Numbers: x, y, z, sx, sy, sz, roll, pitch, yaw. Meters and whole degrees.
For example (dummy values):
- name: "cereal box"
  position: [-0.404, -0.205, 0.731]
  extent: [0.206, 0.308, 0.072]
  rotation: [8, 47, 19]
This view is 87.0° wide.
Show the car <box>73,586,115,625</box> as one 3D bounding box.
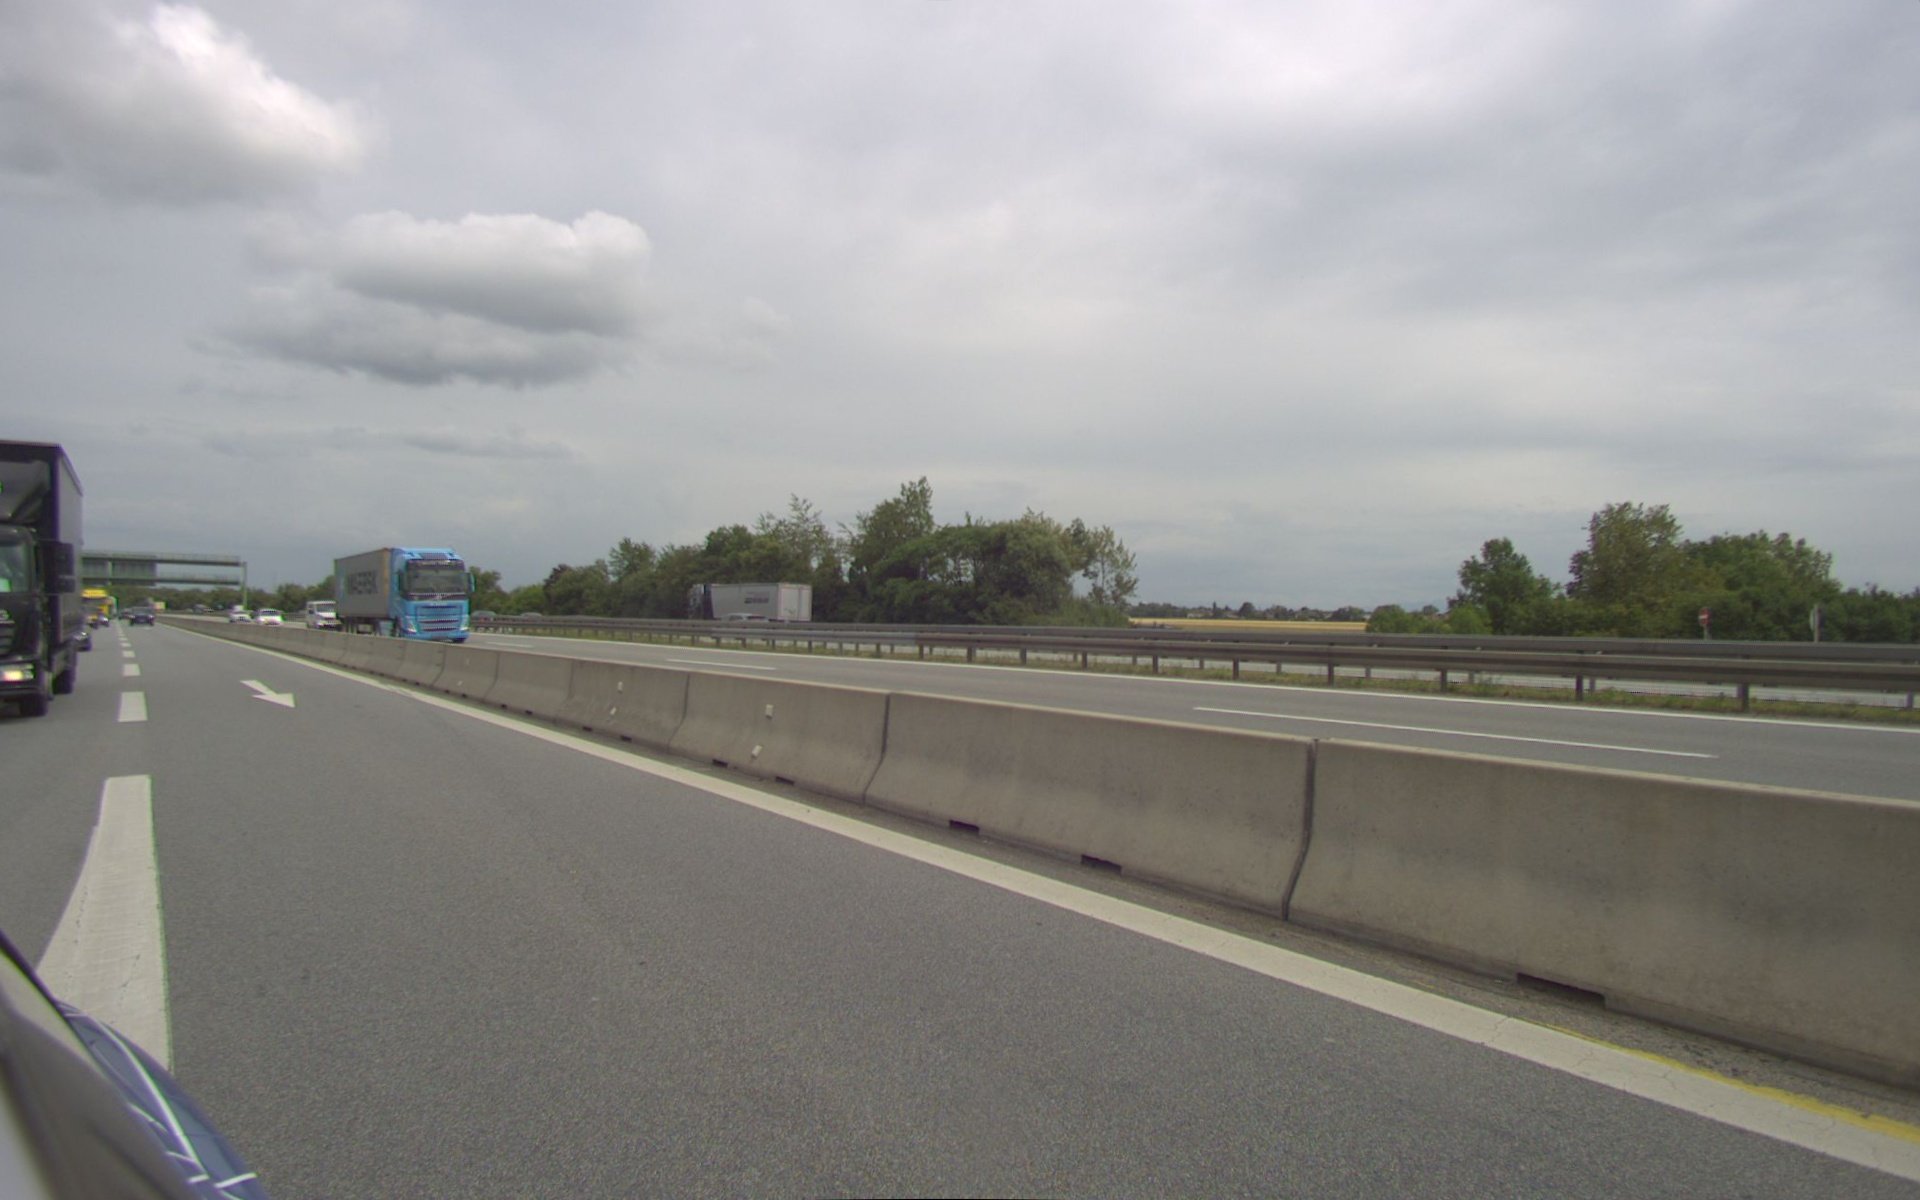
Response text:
- name: "car"
  position: [-104.695, 0.707, 122.487]
  extent: [3.342, 4.517, 11.630]
  rotation: [0, -1, -38]

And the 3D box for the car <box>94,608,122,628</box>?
- name: "car"
  position: [-78.772, 1.685, 93.605]
  extent: [1.758, 1.785, 4.008]
  rotation: [0, 0, -38]

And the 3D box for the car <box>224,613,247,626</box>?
- name: "car"
  position: [-84.453, 2.262, 117.902]
  extent: [1.731, 1.379, 4.211]
  rotation: [0, -1, -42]

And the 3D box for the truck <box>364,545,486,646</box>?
- name: "truck"
  position: [-22.680, -0.154, 42.722]
  extent: [3.206, 3.941, 6.620]
  rotation: [0, 0, -40]

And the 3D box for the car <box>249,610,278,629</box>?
- name: "car"
  position: [-55.665, 1.576, 80.913]
  extent: [1.659, 1.496, 3.781]
  rotation: [0, -1, -39]

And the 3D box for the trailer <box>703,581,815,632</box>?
- name: "trailer"
  position: [-13.935, 0.473, 69.429]
  extent: [3.158, 3.294, 9.838]
  rotation: [0, -1, -41]

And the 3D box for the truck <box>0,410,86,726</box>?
- name: "truck"
  position: [-16.044, -0.353, 16.172]
  extent: [2.979, 3.984, 10.357]
  rotation: [0, 0, -40]

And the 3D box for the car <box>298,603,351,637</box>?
- name: "car"
  position: [-39.564, 1.212, 62.951]
  extent: [1.975, 1.952, 5.140]
  rotation: [-1, 0, -41]

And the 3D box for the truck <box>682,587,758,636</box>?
- name: "truck"
  position: [-17.492, 0.832, 73.560]
  extent: [3.111, 3.355, 5.630]
  rotation: [0, -1, -41]

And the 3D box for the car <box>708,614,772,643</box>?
- name: "car"
  position: [-11.822, 1.487, 54.283]
  extent: [1.666, 1.496, 4.011]
  rotation: [0, 0, -40]

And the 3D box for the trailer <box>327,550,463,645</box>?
- name: "trailer"
  position: [-26.955, -0.079, 47.845]
  extent: [3.196, 3.954, 12.399]
  rotation: [-1, 0, -41]

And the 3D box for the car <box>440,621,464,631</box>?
- name: "car"
  position: [-64.670, 3.311, 128.799]
  extent: [1.666, 1.201, 4.010]
  rotation: [0, -1, -42]

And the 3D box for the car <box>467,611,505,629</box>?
- name: "car"
  position: [-36.147, 1.515, 77.141]
  extent: [1.730, 1.379, 4.008]
  rotation: [0, -1, -38]

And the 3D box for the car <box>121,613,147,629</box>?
- name: "car"
  position: [-79.786, 1.994, 97.727]
  extent: [1.838, 1.453, 4.006]
  rotation: [0, -1, -41]
